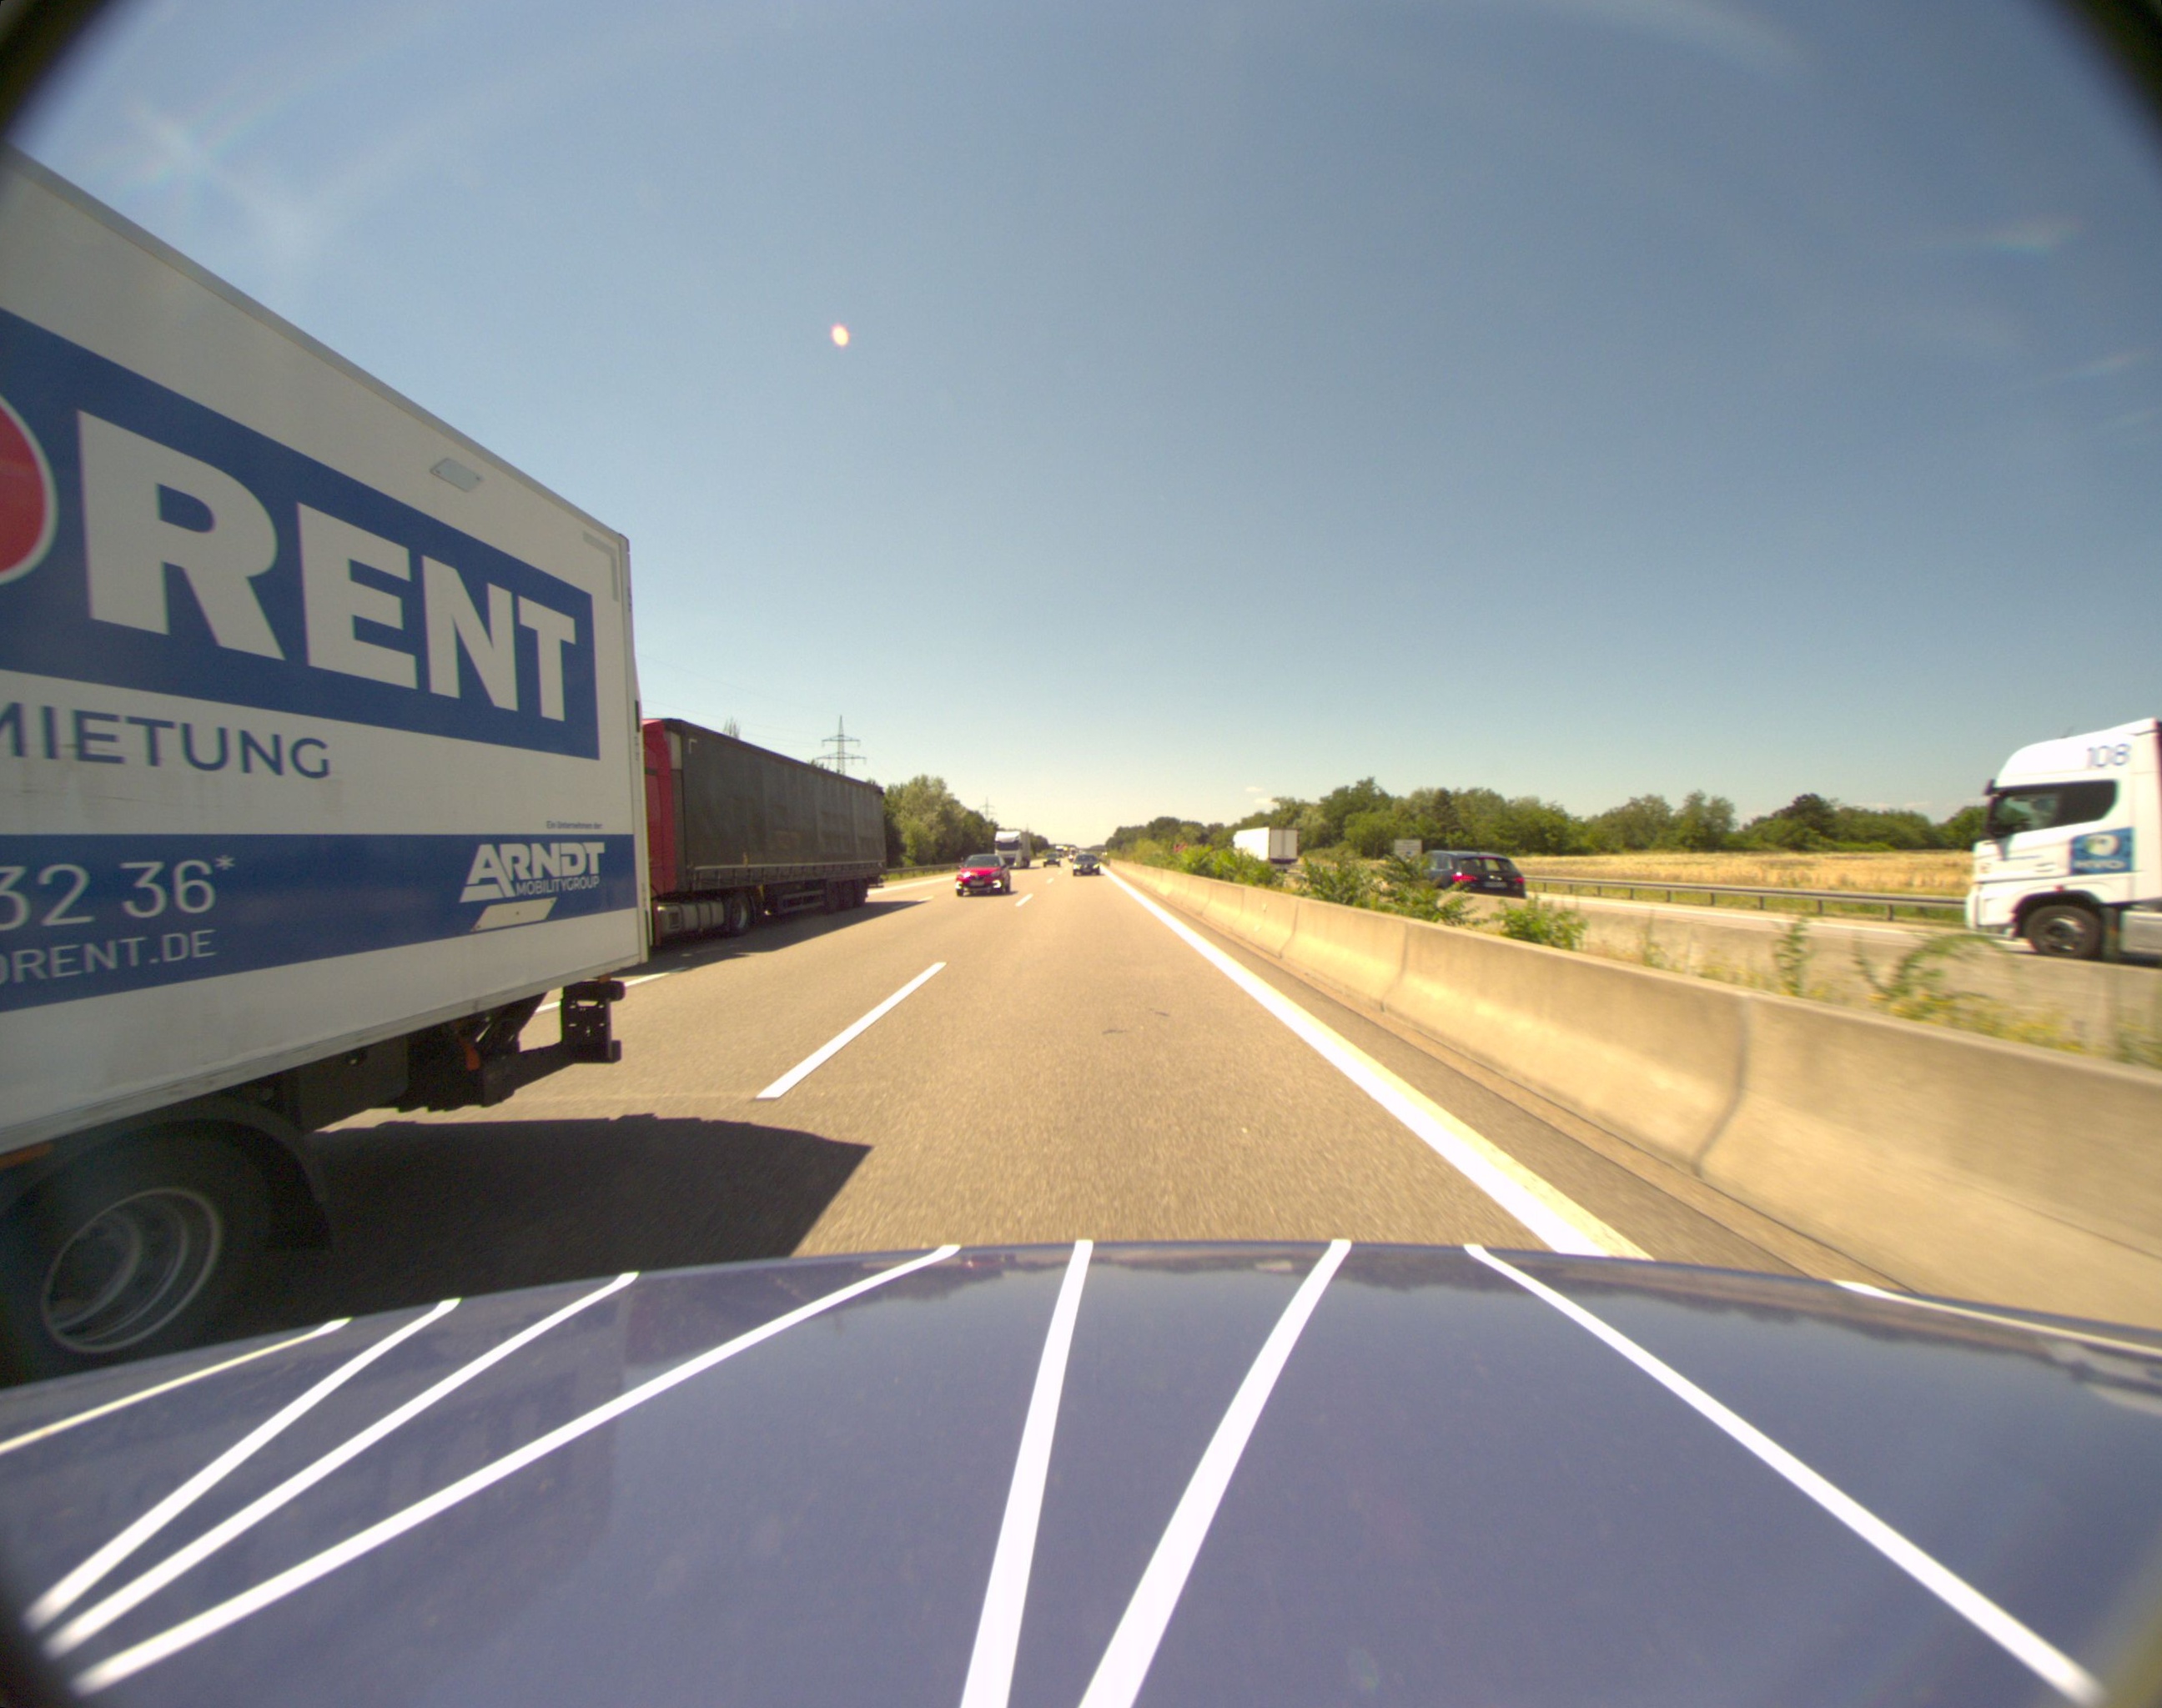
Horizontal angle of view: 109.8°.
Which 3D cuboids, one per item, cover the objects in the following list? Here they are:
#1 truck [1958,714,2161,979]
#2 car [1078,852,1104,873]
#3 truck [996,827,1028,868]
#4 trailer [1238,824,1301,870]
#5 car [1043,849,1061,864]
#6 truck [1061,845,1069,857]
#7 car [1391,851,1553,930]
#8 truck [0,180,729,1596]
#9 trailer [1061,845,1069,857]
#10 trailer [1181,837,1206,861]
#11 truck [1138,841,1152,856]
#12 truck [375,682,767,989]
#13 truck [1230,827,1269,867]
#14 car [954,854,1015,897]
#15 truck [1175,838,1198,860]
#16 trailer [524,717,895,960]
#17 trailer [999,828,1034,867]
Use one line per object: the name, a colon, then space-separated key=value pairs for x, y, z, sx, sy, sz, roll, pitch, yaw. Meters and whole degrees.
truck: x=17.340 y=-0.085 z=10.834 sx=2.841 sy=3.916 sz=5.824 roll=1 pitch=1 yaw=0
car: x=0.694 y=0.575 z=55.756 sx=1.808 sy=1.385 sz=3.999 roll=-2 pitch=0 yaw=0
truck: x=-7.254 y=-0.720 z=80.730 sx=2.743 sy=4.096 sz=6.124 roll=-2 pitch=1 yaw=0
trailer: x=17.595 y=-0.644 z=72.127 sx=2.701 sy=3.991 sz=12.966 roll=1 pitch=0 yaw=0
car: x=-3.314 y=0.303 z=88.502 sx=1.878 sy=1.614 sz=4.003 roll=-1 pitch=0 yaw=0
truck: x=-5.309 y=-1.075 z=249.735 sx=2.573 sy=3.871 sz=5.722 roll=-2 pitch=1 yaw=0
car: x=9.469 y=0.800 z=18.821 sx=1.912 sy=1.727 sz=4.122 roll=1 pitch=0 yaw=1
truck: x=-3.952 y=0.090 z=1.404 sx=2.789 sy=3.353 sz=8.126 roll=-1 pitch=1 yaw=-1
trailer: x=-5.356 y=-1.108 z=256.125 sx=2.573 sy=3.870 sz=13.278 roll=-2 pitch=0 yaw=0
trailer: x=18.263 y=-0.850 z=123.659 sx=2.659 sy=3.640 sz=8.535 roll=1 pitch=0 yaw=0
truck: x=18.079 y=-1.591 z=214.326 sx=2.768 sy=3.991 sz=13.521 roll=1 pitch=0 yaw=0
truck: x=-8.217 y=-0.267 z=13.355 sx=2.802 sy=4.140 sz=5.722 roll=-2 pitch=1 yaw=1
truck: x=17.568 y=-0.686 z=79.433 sx=2.687 sy=3.991 sz=5.755 roll=1 pitch=1 yaw=0
car: x=-3.743 y=0.787 z=30.109 sx=1.808 sy=1.536 sz=4.000 roll=-1 pitch=0 yaw=0
truck: x=18.338 y=-0.905 z=133.039 sx=2.659 sy=3.640 sz=10.188 roll=1 pitch=0 yaw=0
trailer: x=-8.111 y=-0.310 z=19.992 sx=2.796 sy=4.139 sz=13.573 roll=-2 pitch=0 yaw=1
trailer: x=-7.226 y=-0.766 z=87.460 sx=2.743 sy=4.083 sz=13.121 roll=-2 pitch=0 yaw=0
